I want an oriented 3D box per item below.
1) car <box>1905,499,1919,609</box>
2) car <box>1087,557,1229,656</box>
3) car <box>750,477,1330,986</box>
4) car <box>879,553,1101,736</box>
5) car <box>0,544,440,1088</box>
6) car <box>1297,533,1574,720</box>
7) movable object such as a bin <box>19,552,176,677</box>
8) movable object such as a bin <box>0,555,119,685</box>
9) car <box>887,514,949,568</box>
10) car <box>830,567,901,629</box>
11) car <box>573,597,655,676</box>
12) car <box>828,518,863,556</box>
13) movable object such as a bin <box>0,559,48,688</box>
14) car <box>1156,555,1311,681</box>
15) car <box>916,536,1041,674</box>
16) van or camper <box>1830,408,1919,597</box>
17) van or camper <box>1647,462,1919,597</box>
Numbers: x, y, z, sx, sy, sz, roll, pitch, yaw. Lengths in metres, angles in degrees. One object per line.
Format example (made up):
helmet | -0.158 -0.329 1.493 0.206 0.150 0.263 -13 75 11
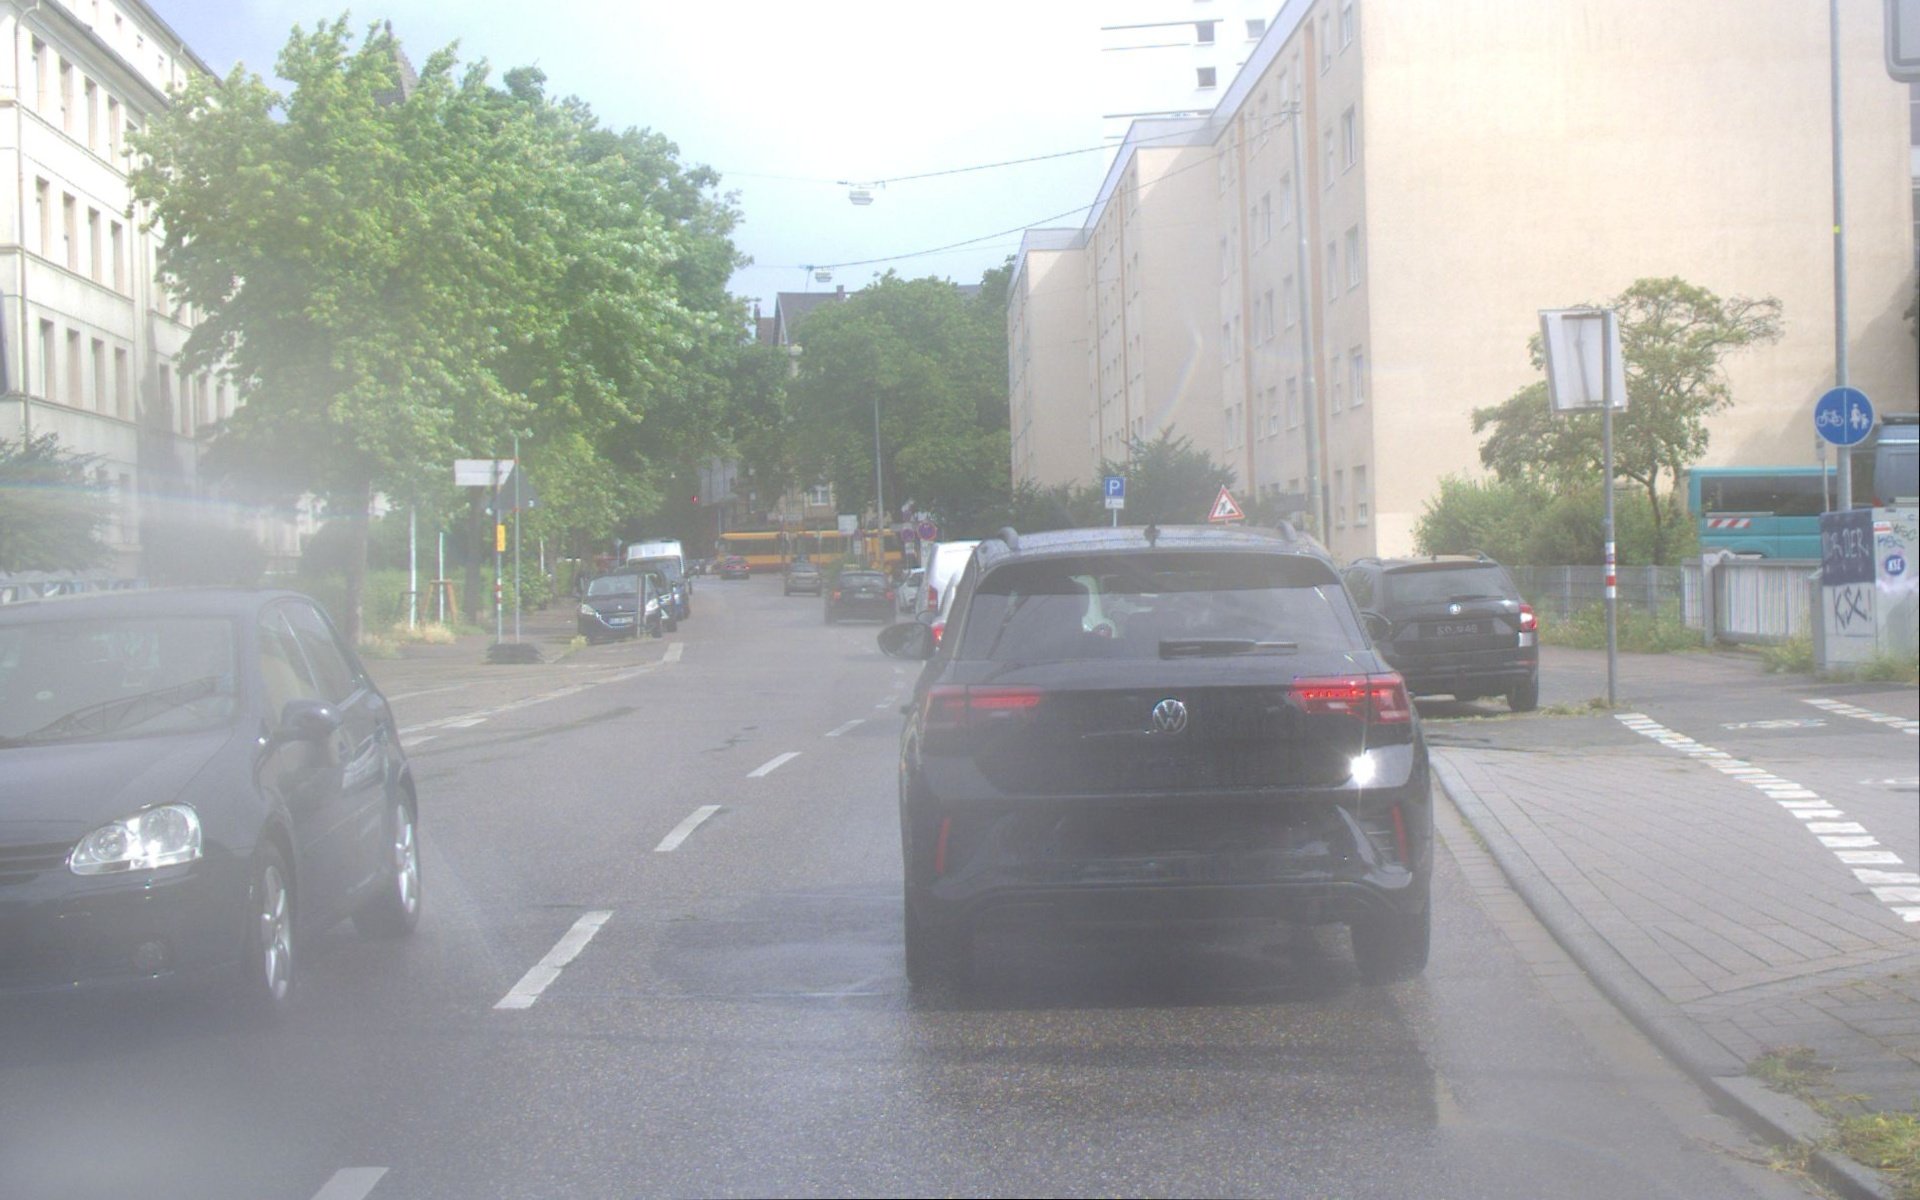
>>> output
car | 13.305 -0.611 43.909 1.611 1.444 3.416 -2 1 2
car | 3.169 0.095 55.700 1.748 1.503 4.112 -1 0 -4
car | 0.240 0.425 13.173 1.873 1.640 4.062 0 0 -1
car | 0.234 0.368 30.311 1.813 1.498 4.000 0 0 0
car | -3.150 0.652 12.338 1.841 1.602 4.000 -3 1 1
car | 4.401 0.201 32.445 1.774 1.534 4.378 -4 1 -2
movable object such as a bin | -12.090 0.193 48.234 1.539 1.656 1.457 -2 1 19
movable object such as a bin | -12.585 0.271 46.718 1.539 1.668 1.664 -2 1 19
car | -1.357 -1.909 111.508 1.841 1.602 3.675 -3 1 1
car | -2.489 -0.079 89.971 1.604 1.505 3.548 -3 1 -4
car | -7.268 0.754 72.458 1.585 1.500 4.065 -3 1 -5
car | -5.814 -3.192 174.722 1.665 1.831 4.001 -2 1 -2
movable object such as a bin | -13.109 0.328 45.156 1.539 1.650 1.526 -2 1 19
car | 3.439 0.236 43.800 1.757 1.522 4.000 0 -1 2
car | 0.257 0.078 54.457 1.836 2.096 4.000 0 0 -2
van or camper | 14.854 -1.363 47.671 4.998 2.546 2.175 -1 0 1
van or camper | 14.174 -1.191 57.956 4.760 2.124 2.321 -1 1 3
